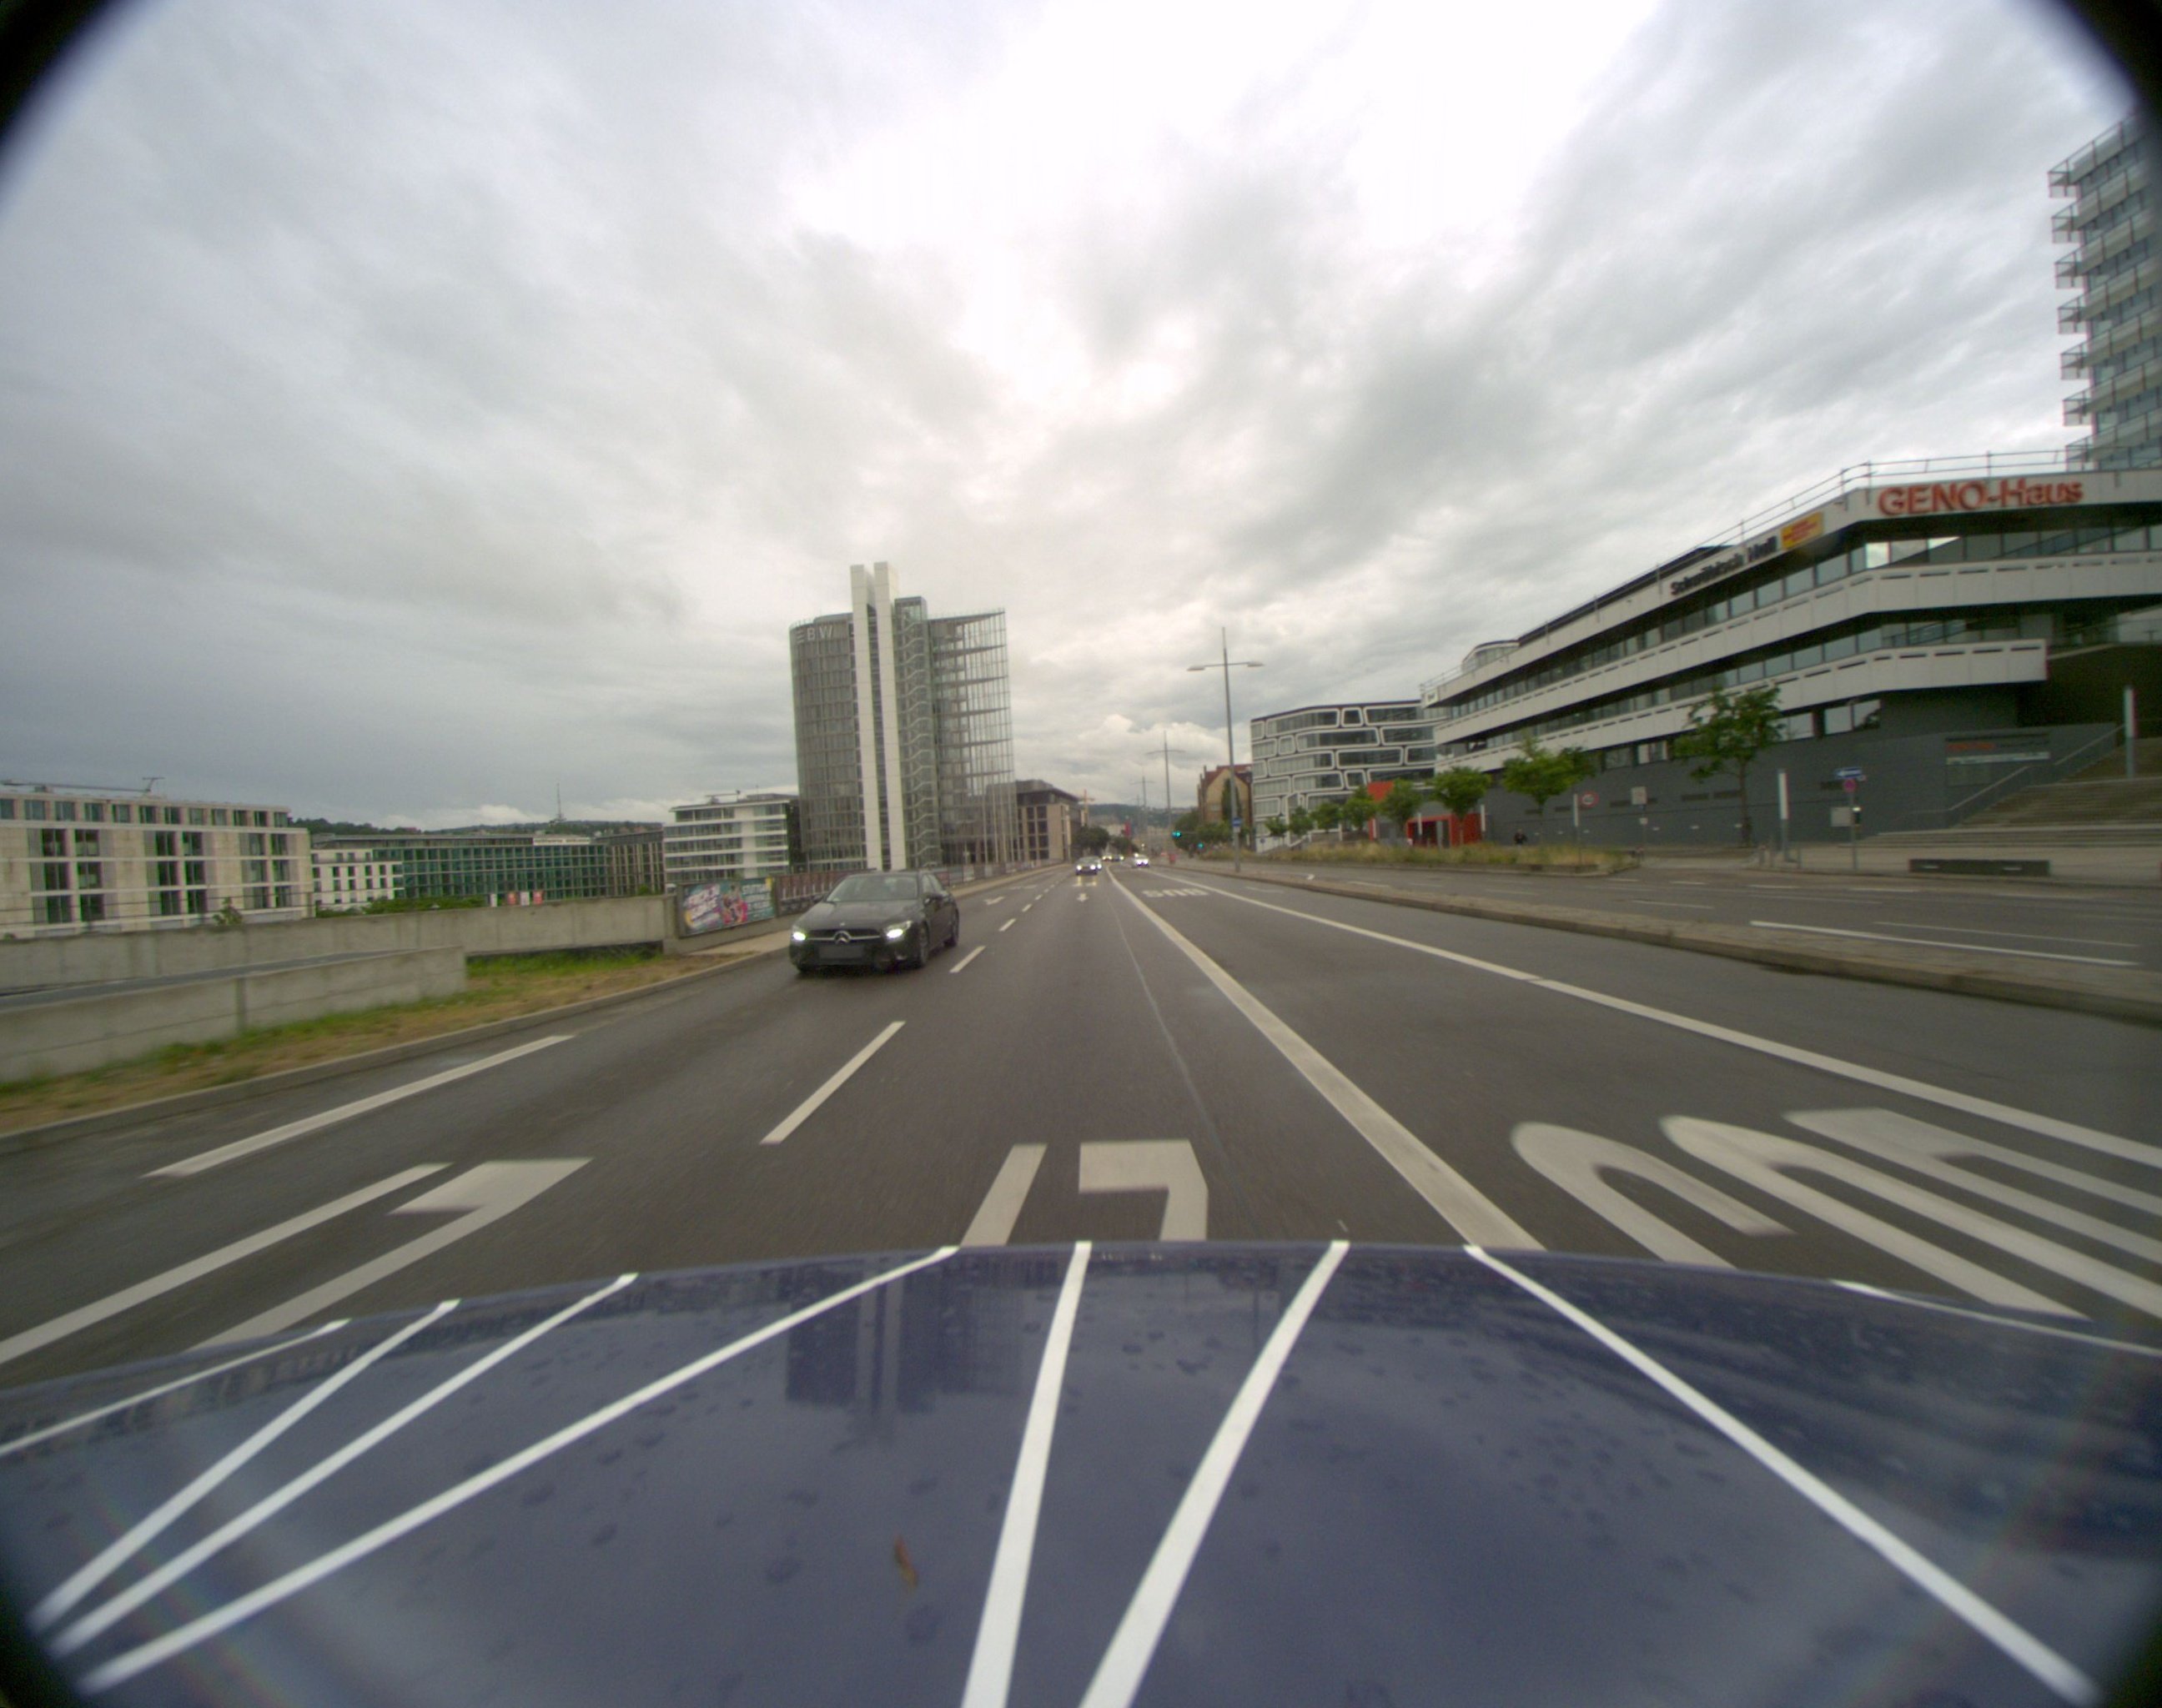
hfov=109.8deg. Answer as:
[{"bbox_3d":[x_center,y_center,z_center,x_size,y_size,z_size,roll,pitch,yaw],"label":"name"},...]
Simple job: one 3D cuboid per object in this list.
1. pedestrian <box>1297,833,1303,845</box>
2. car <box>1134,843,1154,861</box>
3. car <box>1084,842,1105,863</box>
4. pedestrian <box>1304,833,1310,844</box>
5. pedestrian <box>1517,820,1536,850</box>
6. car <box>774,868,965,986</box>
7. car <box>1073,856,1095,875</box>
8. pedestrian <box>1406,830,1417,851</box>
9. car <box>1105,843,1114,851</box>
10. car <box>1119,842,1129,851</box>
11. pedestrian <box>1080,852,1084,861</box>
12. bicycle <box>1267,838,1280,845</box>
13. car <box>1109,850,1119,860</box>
[{"bbox_3d":[29.645,-2.023,102.967,0.619,1.649,0.798,0,2,3],"label":"pedestrian"},{"bbox_3d":[7.114,-0.223,86.276,1.970,1.816,3.927,-3,1,1],"label":"car"},{"bbox_3d":[1.418,-0.208,79.945,1.998,2.002,3.999,-2,2,1],"label":"car"},{"bbox_3d":[33.070,-2.267,111.354,0.612,1.602,0.640,-4,2,5],"label":"pedestrian"},{"bbox_3d":[27.768,-1.166,47.319,0.786,1.797,0.628,-2,2,2],"label":"pedestrian"},{"bbox_3d":[-3.031,0.984,11.841,1.727,1.368,4.155,-2,0,0],"label":"car"},{"bbox_3d":[0.258,0.923,62.450,1.684,1.379,3.475,-2,2,1],"label":"car"},{"bbox_3d":[29.338,-1.225,67.421,0.631,1.797,0.628,-2,2,2],"label":"pedestrian"},{"bbox_3d":[6.943,-1.711,186.621,1.998,2.002,3.999,-2,2,1],"label":"car"},{"bbox_3d":[10.255,-1.747,182.326,1.998,2.002,3.999,-2,2,1],"label":"car"},{"bbox_3d":[0.222,0.479,151.080,0.660,1.601,0.547,-3,1,8],"label":"pedestrian"},{"bbox_3d":[26.066,-1.657,102.875,0.610,0.852,1.653,-4,2,-32],"label":"bicycle"},{"bbox_3d":[7.299,0.233,167.724,1.998,2.002,3.999,-2,2,1],"label":"car"}]
